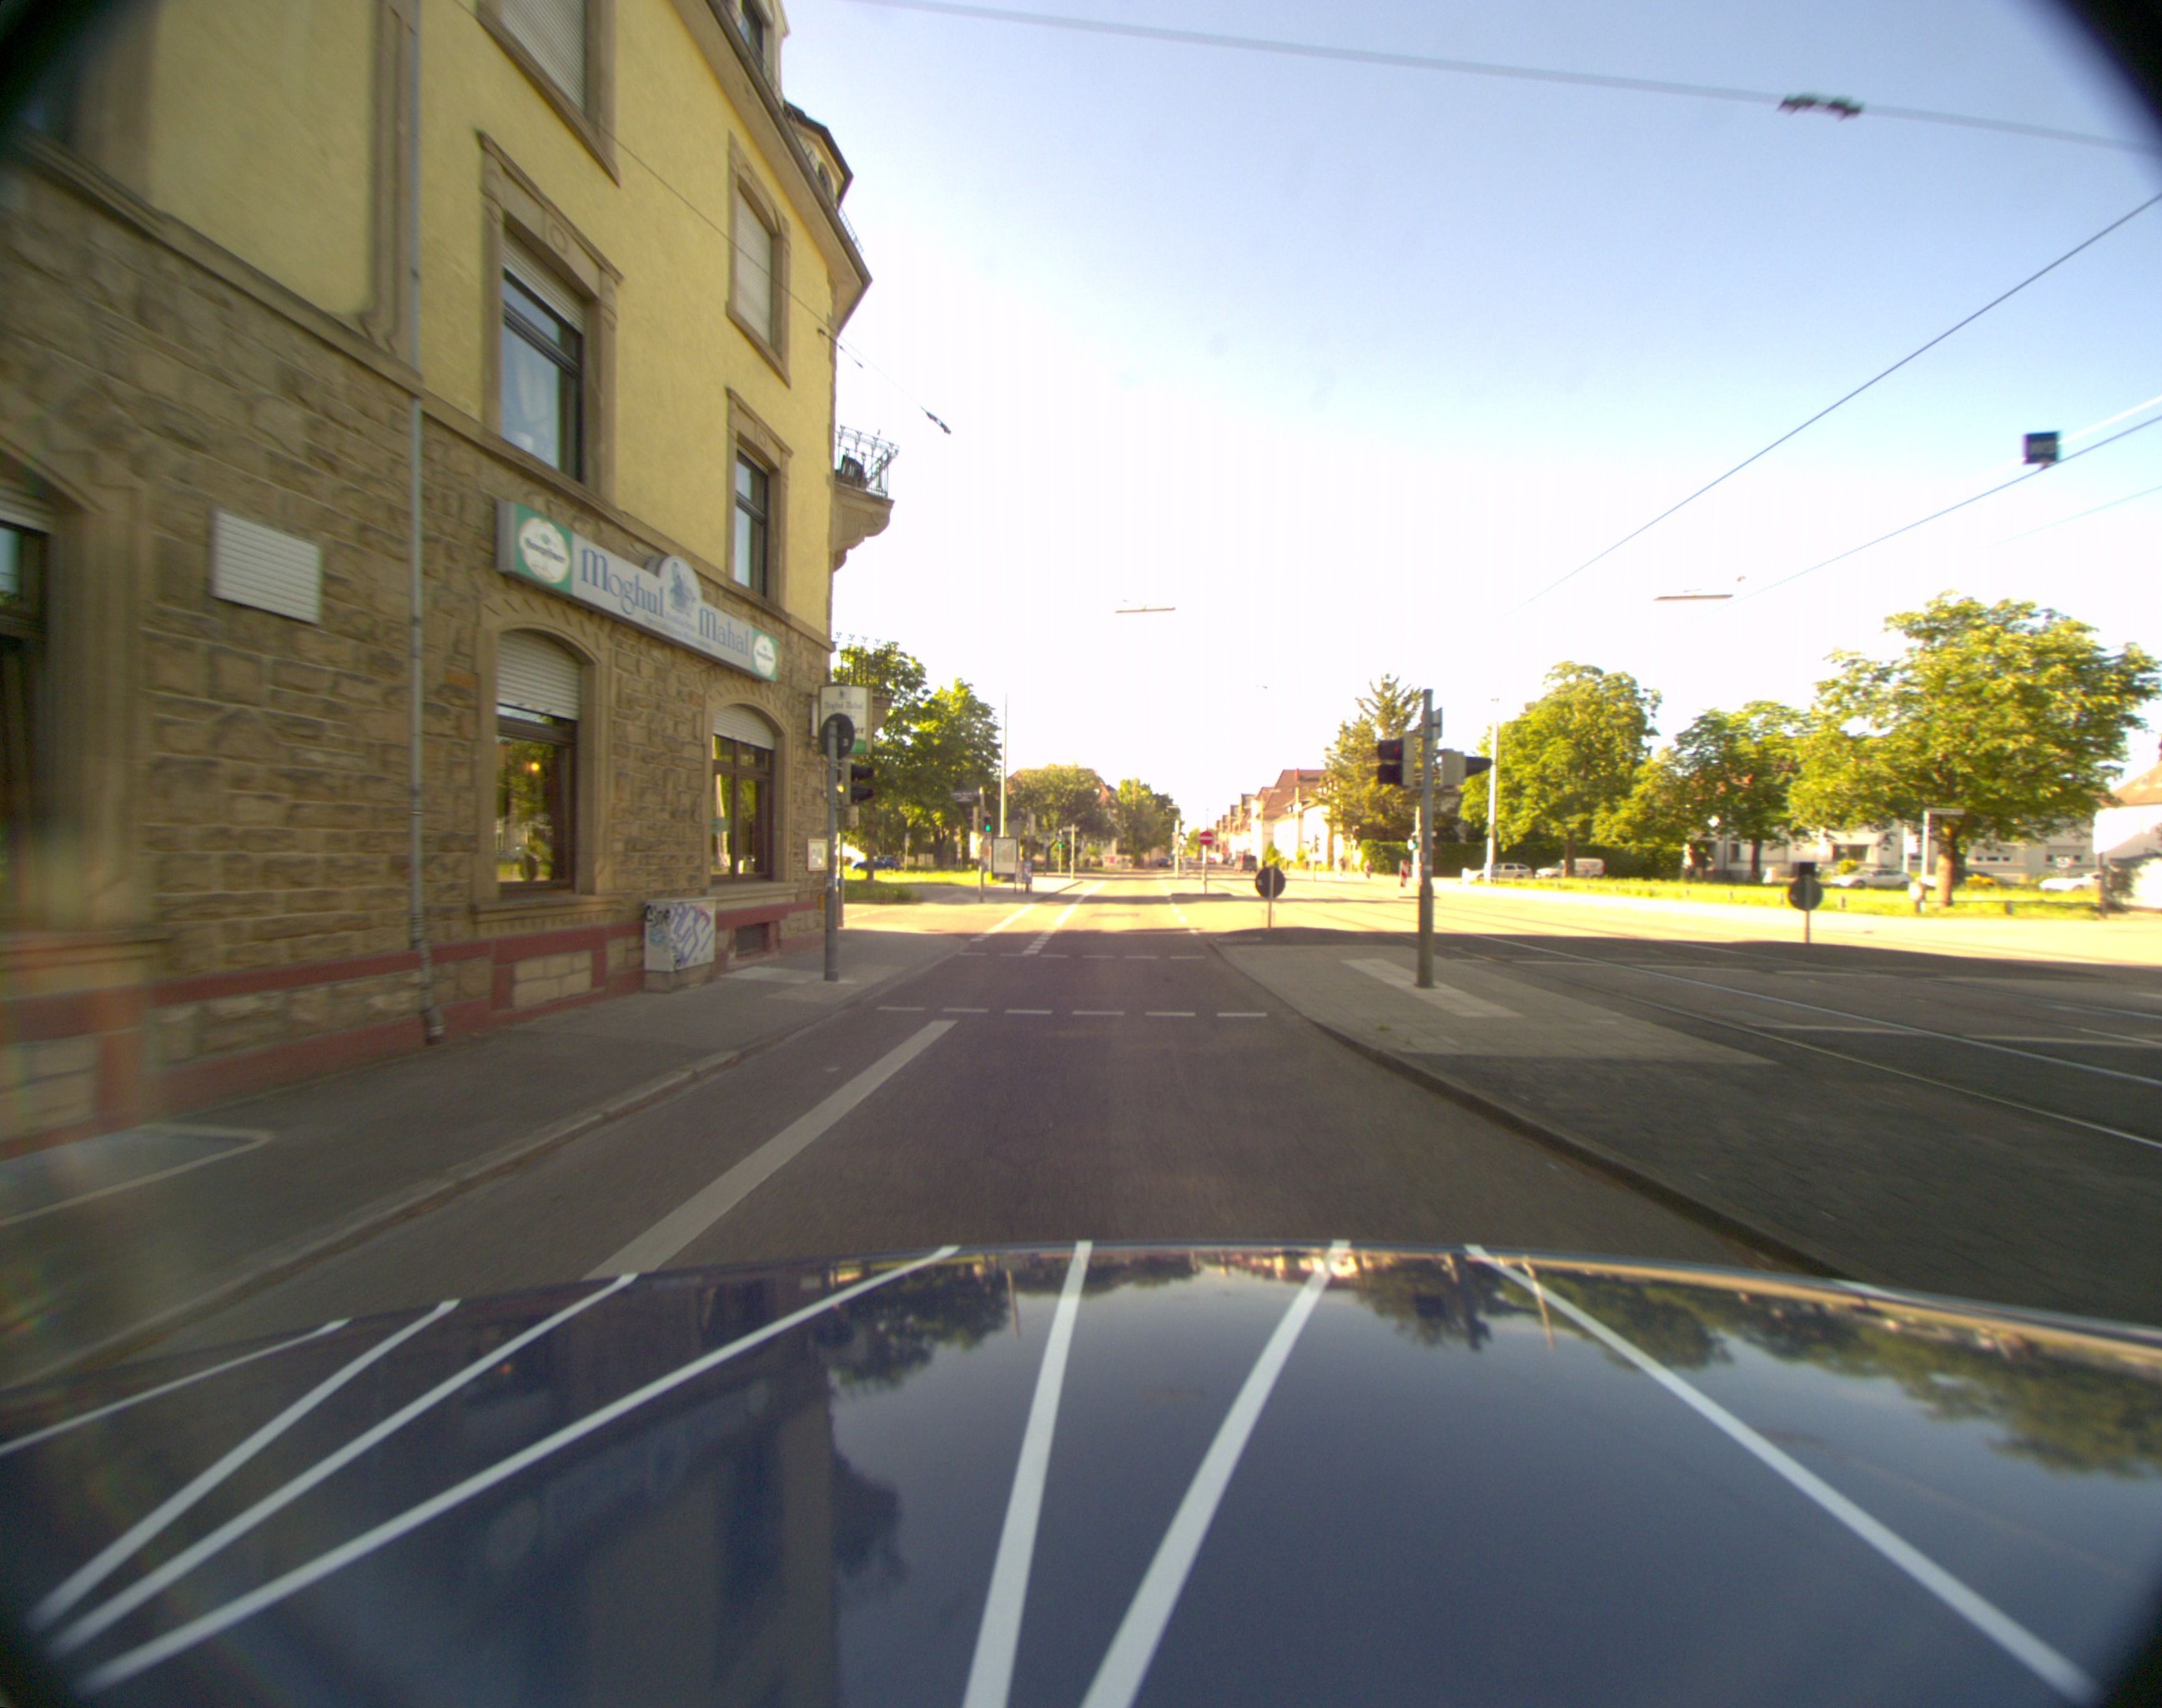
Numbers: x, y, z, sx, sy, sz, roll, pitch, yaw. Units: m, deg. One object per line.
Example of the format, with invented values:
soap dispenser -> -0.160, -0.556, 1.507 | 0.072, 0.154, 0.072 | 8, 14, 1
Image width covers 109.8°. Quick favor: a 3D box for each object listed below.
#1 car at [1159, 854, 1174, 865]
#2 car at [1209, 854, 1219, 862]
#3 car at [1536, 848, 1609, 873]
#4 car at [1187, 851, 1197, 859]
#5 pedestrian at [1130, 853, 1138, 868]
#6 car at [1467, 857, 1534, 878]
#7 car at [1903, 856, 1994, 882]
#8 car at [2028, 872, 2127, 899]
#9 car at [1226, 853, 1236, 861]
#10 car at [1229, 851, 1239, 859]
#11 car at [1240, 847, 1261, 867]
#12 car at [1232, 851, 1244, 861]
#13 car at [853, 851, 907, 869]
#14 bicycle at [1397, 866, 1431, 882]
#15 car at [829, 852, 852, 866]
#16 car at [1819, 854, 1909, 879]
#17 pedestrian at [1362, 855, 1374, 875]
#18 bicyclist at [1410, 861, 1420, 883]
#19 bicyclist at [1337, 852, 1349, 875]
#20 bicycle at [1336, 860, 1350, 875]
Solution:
car -> 13.227, 0.837, 117.365 | 1.703, 1.541, 4.004 | -2, 0, 13
car -> 29.537, 0.802, 168.731 | 1.922, 1.705, 4.004 | -2, 0, 12
car -> 37.049, 0.469, 57.370 | 4.308, 1.856, 1.818 | 0, 1, 10
car -> 24.836, 0.294, 170.020 | 1.922, 1.704, 4.003 | -2, 0, 10
pedestrian -> 5.683, 0.701, 81.470 | 0.654, 1.664, 0.944 | 2, 1, 10
car -> 30.699, 0.971, 55.694 | 3.992, 1.425, 1.818 | 0, 0, 13
car -> 60.397, 1.048, 52.938 | 3.881, 1.732, 1.818 | 0, 0, 10
car -> 67.650, 2.137, 51.643 | 3.881, 1.732, 1.818 | 0, 0, 10
car -> 33.295, 0.689, 168.673 | 1.922, 1.704, 4.003 | -2, 0, 9
car -> 30.989, 0.210, 153.897 | 1.922, 1.555, 4.004 | -2, 0, 12
car -> 18.400, 0.351, 82.576 | 2.023, 2.001, 5.256 | 2, -1, 11
car -> 28.750, 0.408, 138.972 | 1.923, 1.704, 4.003 | -2, 0, 8
car -> -16.757, 0.494, 63.512 | 3.995, 1.425, 1.818 | 0, -1, 6
bicycle -> 25.177, 1.515, 57.508 | 2.282, 1.111, 0.931 | 0, 1, 16
car -> -28.322, 0.599, 89.728 | 1.606, 1.525, 4.282 | 0, -1, -4
car -> 55.557, 0.857, 53.986 | 4.194, 1.732, 1.818 | 0, 0, 10
pedestrian -> 22.846, 0.851, 60.511 | 0.680, 1.547, 0.622 | -2, 0, -41
bicyclist -> 25.233, 1.338, 57.488 | 0.558, 1.613, 0.899 | 1, 1, 16
bicyclist -> 19.304, 0.714, 55.919 | 0.588, 1.701, 0.902 | 1, 0, 5
bicycle -> 19.299, 1.001, 56.009 | 0.588, 1.107, 1.827 | 1, 0, 5
